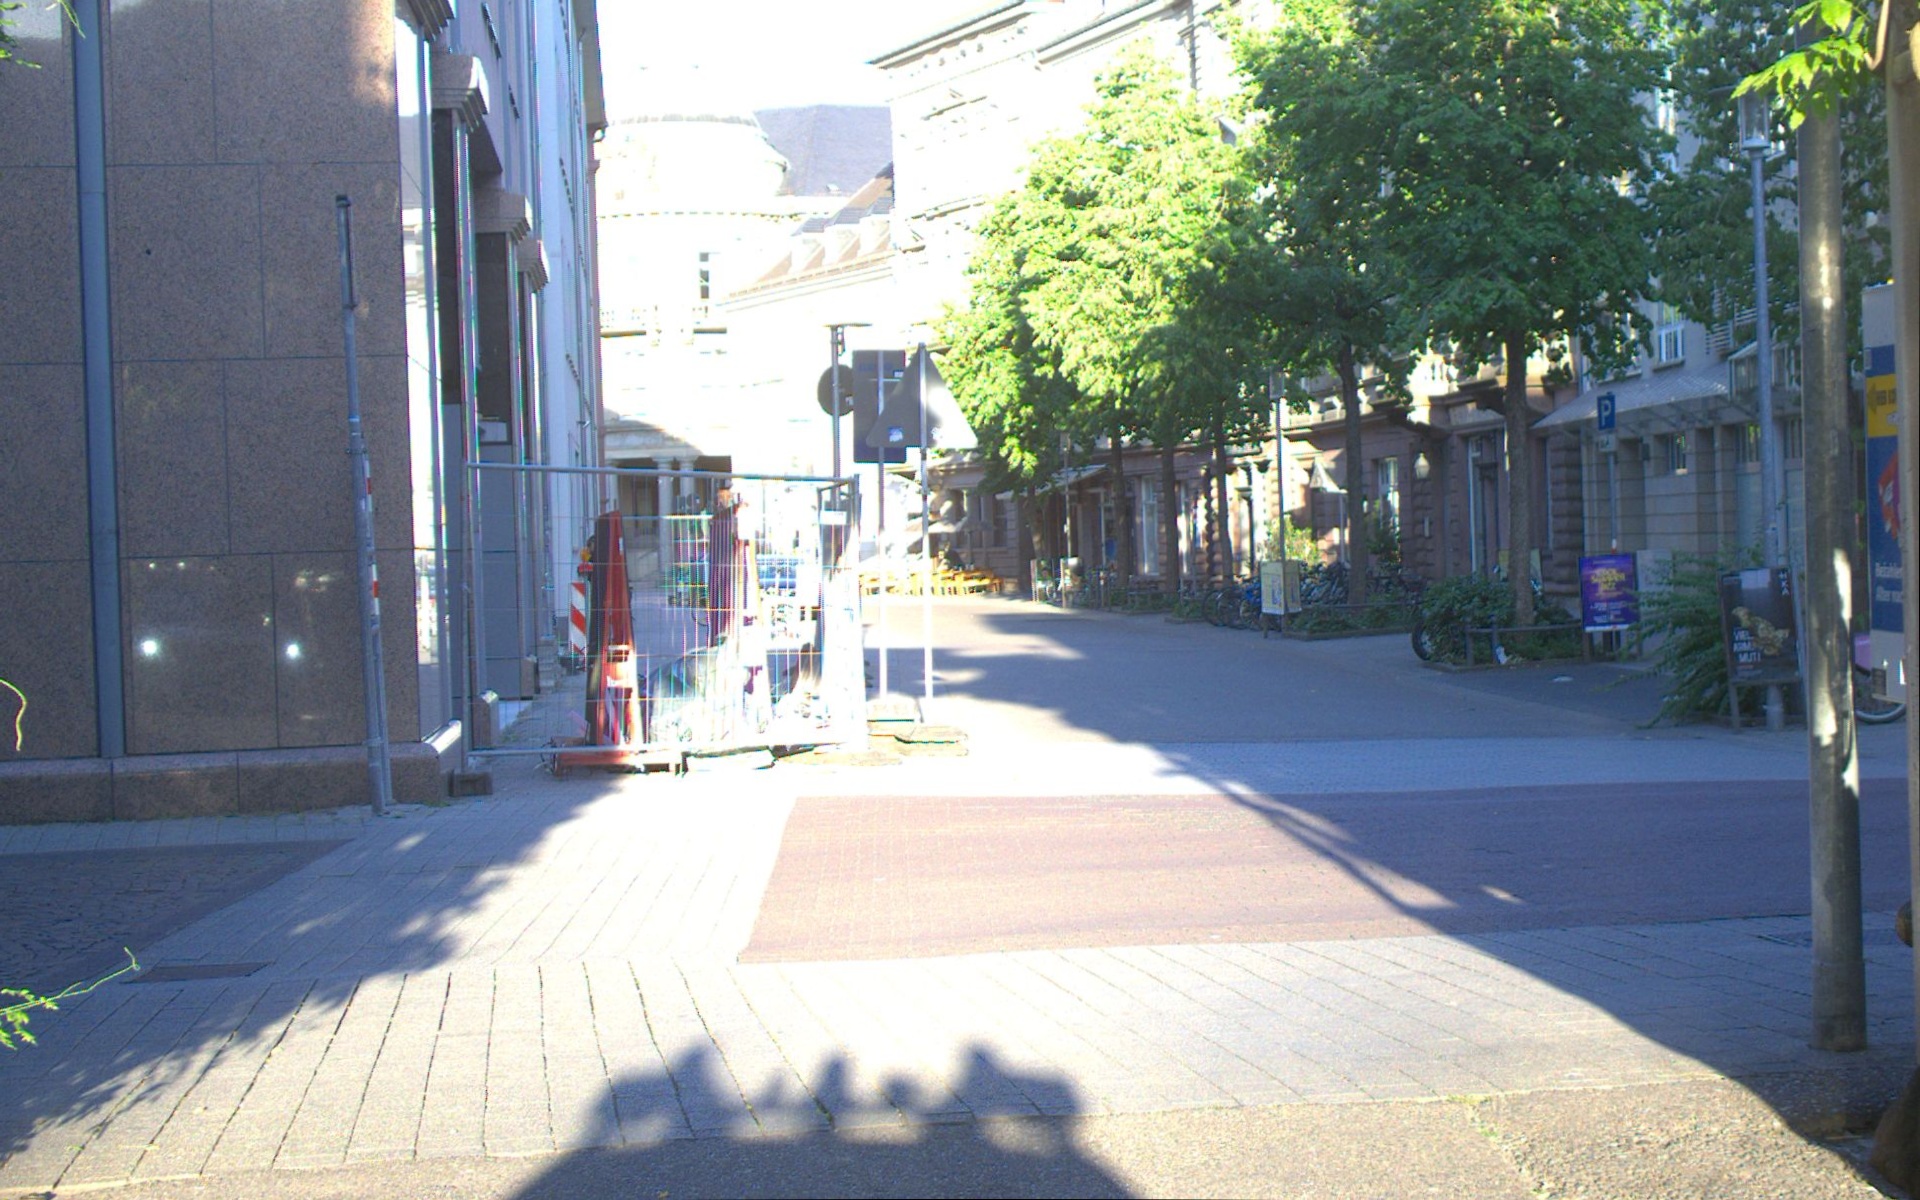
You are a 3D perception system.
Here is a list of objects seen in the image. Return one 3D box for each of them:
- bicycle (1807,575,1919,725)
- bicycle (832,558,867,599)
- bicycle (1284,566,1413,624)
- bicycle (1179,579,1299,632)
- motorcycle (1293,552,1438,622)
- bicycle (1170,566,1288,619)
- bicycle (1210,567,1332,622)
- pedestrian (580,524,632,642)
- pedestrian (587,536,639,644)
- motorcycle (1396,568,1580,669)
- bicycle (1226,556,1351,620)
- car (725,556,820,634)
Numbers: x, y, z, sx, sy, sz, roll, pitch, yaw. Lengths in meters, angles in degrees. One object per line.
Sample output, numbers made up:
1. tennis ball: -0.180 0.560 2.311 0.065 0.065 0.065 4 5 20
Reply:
1. bicycle: 7.351 0.346 26.174 1.657 1.047 0.662 -5 1 16
2. bicycle: -3.102 -0.589 96.127 0.588 1.091 2.160 -2 0 -11
3. bicycle: 6.788 -0.084 60.068 2.152 0.922 0.591 -2 0 -17
4. bicycle: 5.300 0.103 65.285 2.152 0.922 0.591 -2 0 -9
5. motorcycle: 6.955 -0.226 58.938 2.470 1.091 0.591 -2 0 -24
6. bicycle: 5.182 -0.146 66.163 2.152 0.922 0.591 -2 0 -9
7. bicycle: 5.799 -0.102 64.167 2.152 0.922 0.591 -2 0 -9
8. pedestrian: -5.408 -0.263 52.532 0.654 1.758 0.634 -2 1 2
9. pedestrian: -5.360 -0.156 53.146 0.654 1.646 0.634 -2 1 2
10. motorcycle: 6.524 0.226 42.495 2.152 1.147 0.494 -2 0 -5
11. bicycle: 5.919 -0.216 61.921 2.154 1.057 0.590 -2 0 12
12. car: -4.291 -0.121 78.199 1.841 1.678 3.645 -2 1 -7
